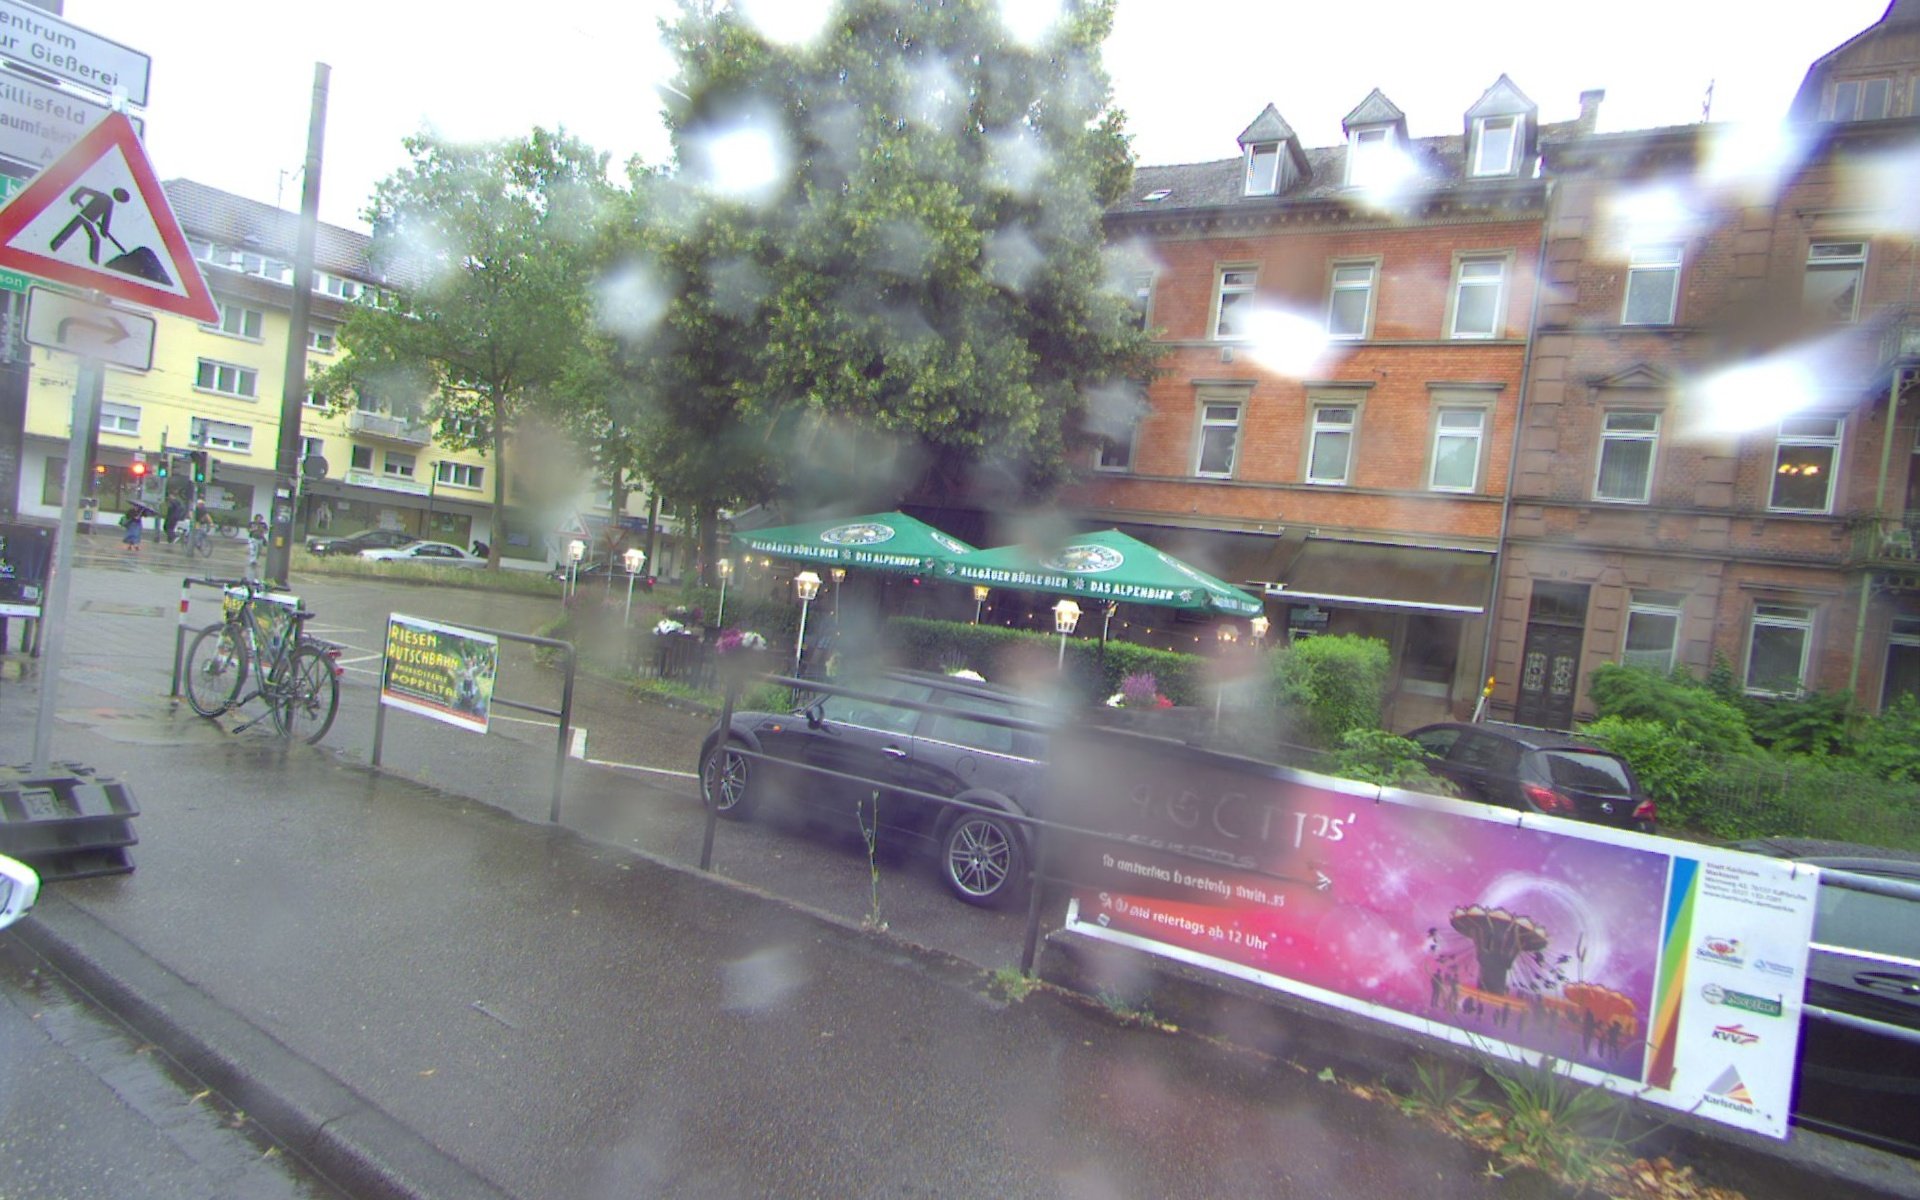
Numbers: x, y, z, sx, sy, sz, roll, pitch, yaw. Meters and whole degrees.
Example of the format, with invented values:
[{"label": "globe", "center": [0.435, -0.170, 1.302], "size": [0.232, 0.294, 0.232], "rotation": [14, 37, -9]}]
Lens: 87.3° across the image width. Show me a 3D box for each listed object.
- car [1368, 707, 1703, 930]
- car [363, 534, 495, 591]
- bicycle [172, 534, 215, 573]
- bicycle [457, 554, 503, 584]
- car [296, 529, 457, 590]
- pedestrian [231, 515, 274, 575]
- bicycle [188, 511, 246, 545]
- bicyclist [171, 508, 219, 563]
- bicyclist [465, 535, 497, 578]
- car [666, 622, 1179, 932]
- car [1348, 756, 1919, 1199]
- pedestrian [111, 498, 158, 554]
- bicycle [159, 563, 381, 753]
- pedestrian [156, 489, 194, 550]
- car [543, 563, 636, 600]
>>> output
[{"label": "car", "center": [6.647, 2.427, 12.230], "size": [1.962, 1.733, 4.004], "rotation": [7, -1, 7]}, {"label": "car", "center": [-19.668, -1.376, 37.357], "size": [3.926, 1.508, 1.784], "rotation": [8, 0, -43]}, {"label": "bicycle", "center": [-24.688, -1.498, 32.389], "size": [1.871, 1.040, 0.459], "rotation": [8, 1, 34]}, {"label": "bicycle", "center": [-19.956, -1.290, 41.831], "size": [0.415, 1.013, 1.640], "rotation": [7, -1, 33]}, {"label": "car", "center": [-22.441, -1.519, 38.823], "size": [1.975, 1.661, 4.928], "rotation": [3, -4, 43]}, {"label": "pedestrian", "center": [-21.940, -1.698, 31.211], "size": [0.898, 1.689, 1.011], "rotation": [7, -1, -33]}, {"label": "bicycle", "center": [-35.598, -3.433, 48.198], "size": [2.096, 1.277, 0.525], "rotation": [8, 0, -44]}, {"label": "bicyclist", "center": [-24.642, -2.077, 32.398], "size": [0.847, 1.602, 0.879], "rotation": [7, -1, 35]}, {"label": "bicyclist", "center": [-19.910, -1.805, 41.805], "size": [0.699, 1.634, 0.815], "rotation": [7, 0, 33]}, {"label": "car", "center": [-0.351, 1.213, 7.799], "size": [3.468, 1.457, 1.710], "rotation": [8, -3, 34]}, {"label": "car", "center": [4.193, 1.854, 4.957], "size": [3.907, 1.416, 1.706], "rotation": [7, -1, 32]}, {"label": "pedestrian", "center": [-24.921, -2.214, 30.382], "size": [0.612, 1.552, 0.816], "rotation": [7, 0, -6]}, {"label": "bicycle", "center": [-5.176, 0.402, 7.497], "size": [1.984, 1.119, 0.515], "rotation": [7, -3, 34]}, {"label": "pedestrian", "center": [-27.972, -2.862, 35.845], "size": [0.790, 2.038, 0.853], "rotation": [7, 0, -33]}, {"label": "car", "center": [-15.525, -0.763, 42.274], "size": [1.227, 1.095, 3.531], "rotation": [7, -2, 34]}]
